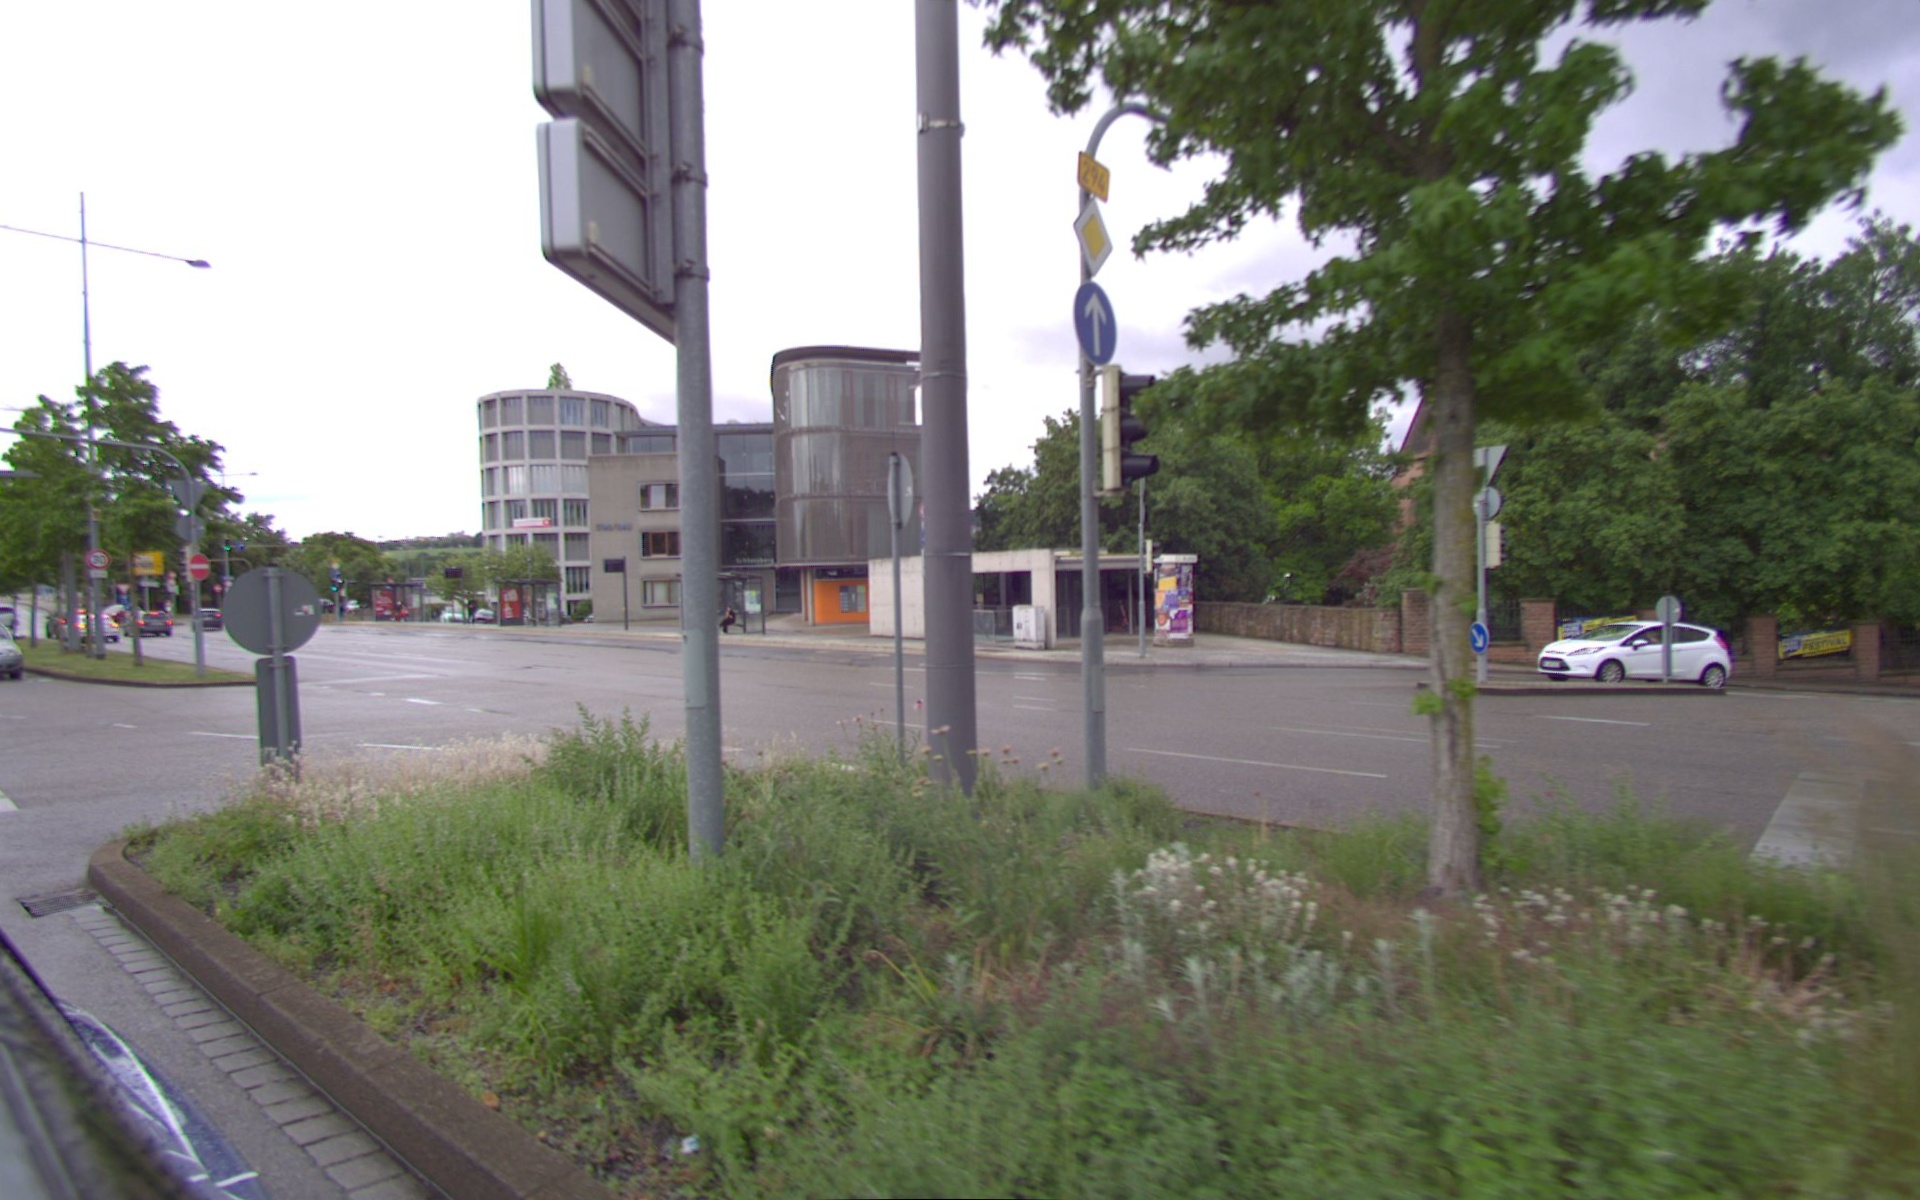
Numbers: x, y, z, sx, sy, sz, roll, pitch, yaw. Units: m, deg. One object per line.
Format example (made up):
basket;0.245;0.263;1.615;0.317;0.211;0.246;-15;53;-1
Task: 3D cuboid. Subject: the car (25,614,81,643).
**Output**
car;-50.546;1.559;56.369;4.165;1.566;1.983;0;-1;43

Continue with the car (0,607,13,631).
car;-66.889;1.321;68.672;1.846;1.646;4.295;1;-1;-12

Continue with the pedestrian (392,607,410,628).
pedestrian;-39.282;1.212;71.056;0.969;1.501;0.735;1;-1;-40

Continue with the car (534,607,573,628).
car;-34.033;1.474;84.862;1.848;1.715;4.162;0;-1;-5

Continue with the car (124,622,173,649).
car;-48.024;2.054;59.827;4.453;1.477;1.676;0;-1;44

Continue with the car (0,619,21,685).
car;-23.800;1.203;24.044;3.716;1.477;1.678;0;-1;39

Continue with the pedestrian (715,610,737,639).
pedestrian;-10.421;1.089;45.023;0.659;1.309;0.720;1;-1;-44

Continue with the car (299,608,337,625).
car;-67.630;1.745;106.684;1.865;1.726;4.225;1;-1;-8

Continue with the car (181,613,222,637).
car;-51.406;1.662;68.567;3.864;1.524;1.658;0;-1;44

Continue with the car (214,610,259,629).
car;-69.033;1.862;96.641;1.864;1.726;4.226;1;-1;-9

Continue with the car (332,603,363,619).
car;-73.504;1.331;121.560;1.967;1.896;4.009;1;-1;-11

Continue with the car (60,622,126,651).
car;-44.565;1.838;52.022;4.162;1.363;1.984;0;-1;41

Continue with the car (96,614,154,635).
car;-68.151;2.015;82.719;1.846;1.646;4.166;0;-1;-10

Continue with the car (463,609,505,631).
car;-39.504;1.638;84.115;1.848;1.715;4.162;0;-1;-5

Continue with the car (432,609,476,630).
car;-41.981;1.618;84.022;1.848;1.715;4.162;0;-1;-5

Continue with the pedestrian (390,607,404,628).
pedestrian;-39.930;1.217;71.773;0.722;1.501;0.735;1;-1;-41

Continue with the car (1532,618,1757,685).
car;15.007;1.116;22.284;3.938;1.409;1.637;1;-1;-6
